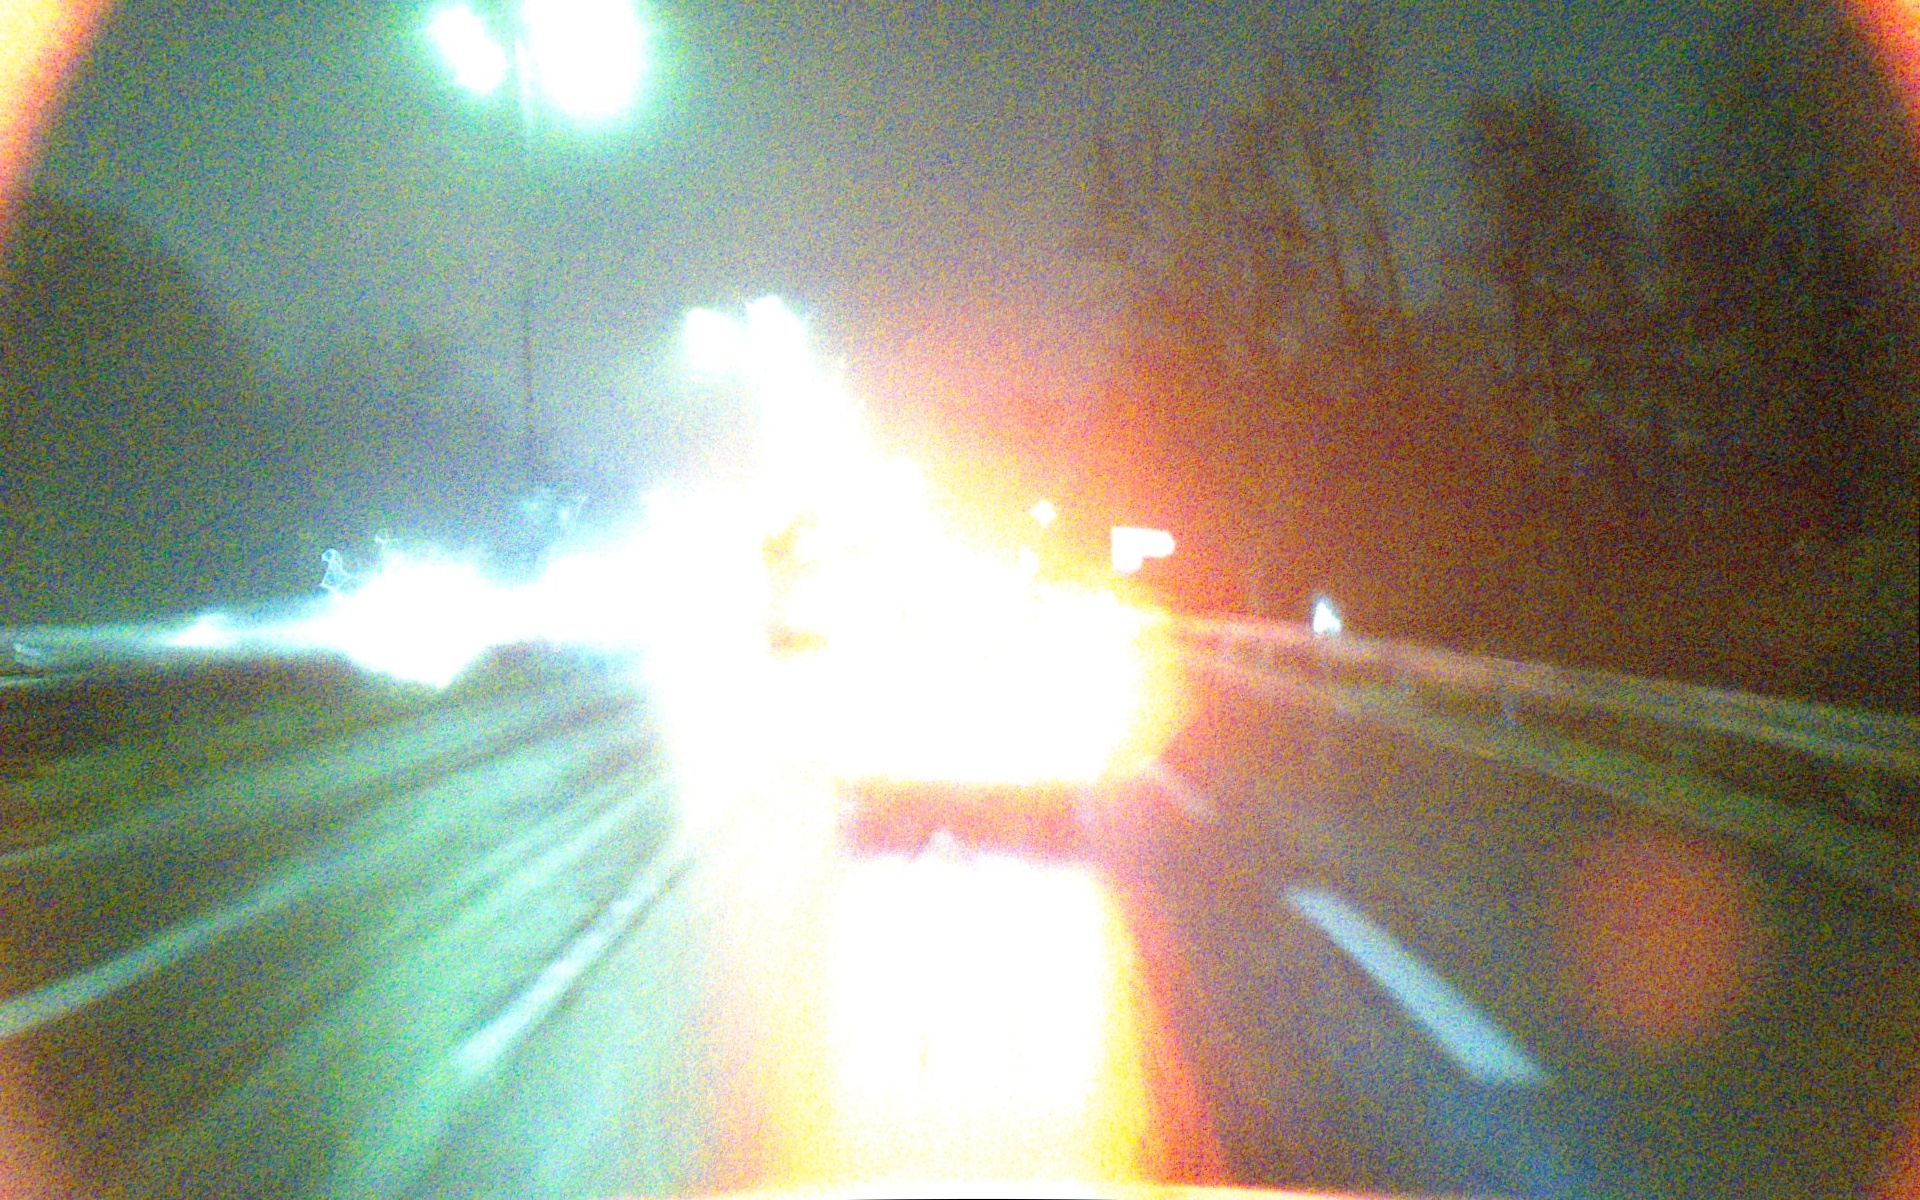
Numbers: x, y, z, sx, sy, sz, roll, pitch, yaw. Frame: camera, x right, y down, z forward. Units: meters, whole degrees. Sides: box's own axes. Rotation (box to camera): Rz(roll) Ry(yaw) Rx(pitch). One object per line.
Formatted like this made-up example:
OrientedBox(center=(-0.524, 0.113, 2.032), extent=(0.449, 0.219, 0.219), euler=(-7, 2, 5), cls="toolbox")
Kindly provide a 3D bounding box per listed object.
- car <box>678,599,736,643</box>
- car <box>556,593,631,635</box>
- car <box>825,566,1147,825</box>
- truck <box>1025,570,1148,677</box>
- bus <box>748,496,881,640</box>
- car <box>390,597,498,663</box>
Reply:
OrientedBox(center=(-11.103, 0.912, 72.902), extent=(1.953, 1.805, 4.703), euler=(2, -1, -2), cls="car")
OrientedBox(center=(-14.666, 0.563, 66.416), extent=(1.982, 1.528, 4.895), euler=(2, -1, -1), cls="car")
OrientedBox(center=(0.199, 0.566, 11.767), extent=(1.904, 1.517, 3.716), euler=(1, 0, 1), cls="car")
OrientedBox(center=(3.528, 0.651, 45.167), extent=(3.005, 2.573, 7.170), euler=(2, -1, 6), cls="truck")
OrientedBox(center=(-3.533, -0.792, 42.252), extent=(2.688, 3.177, 9.199), euler=(2, 1, -1), cls="bus")
OrientedBox(center=(-13.424, 0.779, 43.228), extent=(1.567, 1.579, 3.833), euler=(2, -1, 0), cls="car")
